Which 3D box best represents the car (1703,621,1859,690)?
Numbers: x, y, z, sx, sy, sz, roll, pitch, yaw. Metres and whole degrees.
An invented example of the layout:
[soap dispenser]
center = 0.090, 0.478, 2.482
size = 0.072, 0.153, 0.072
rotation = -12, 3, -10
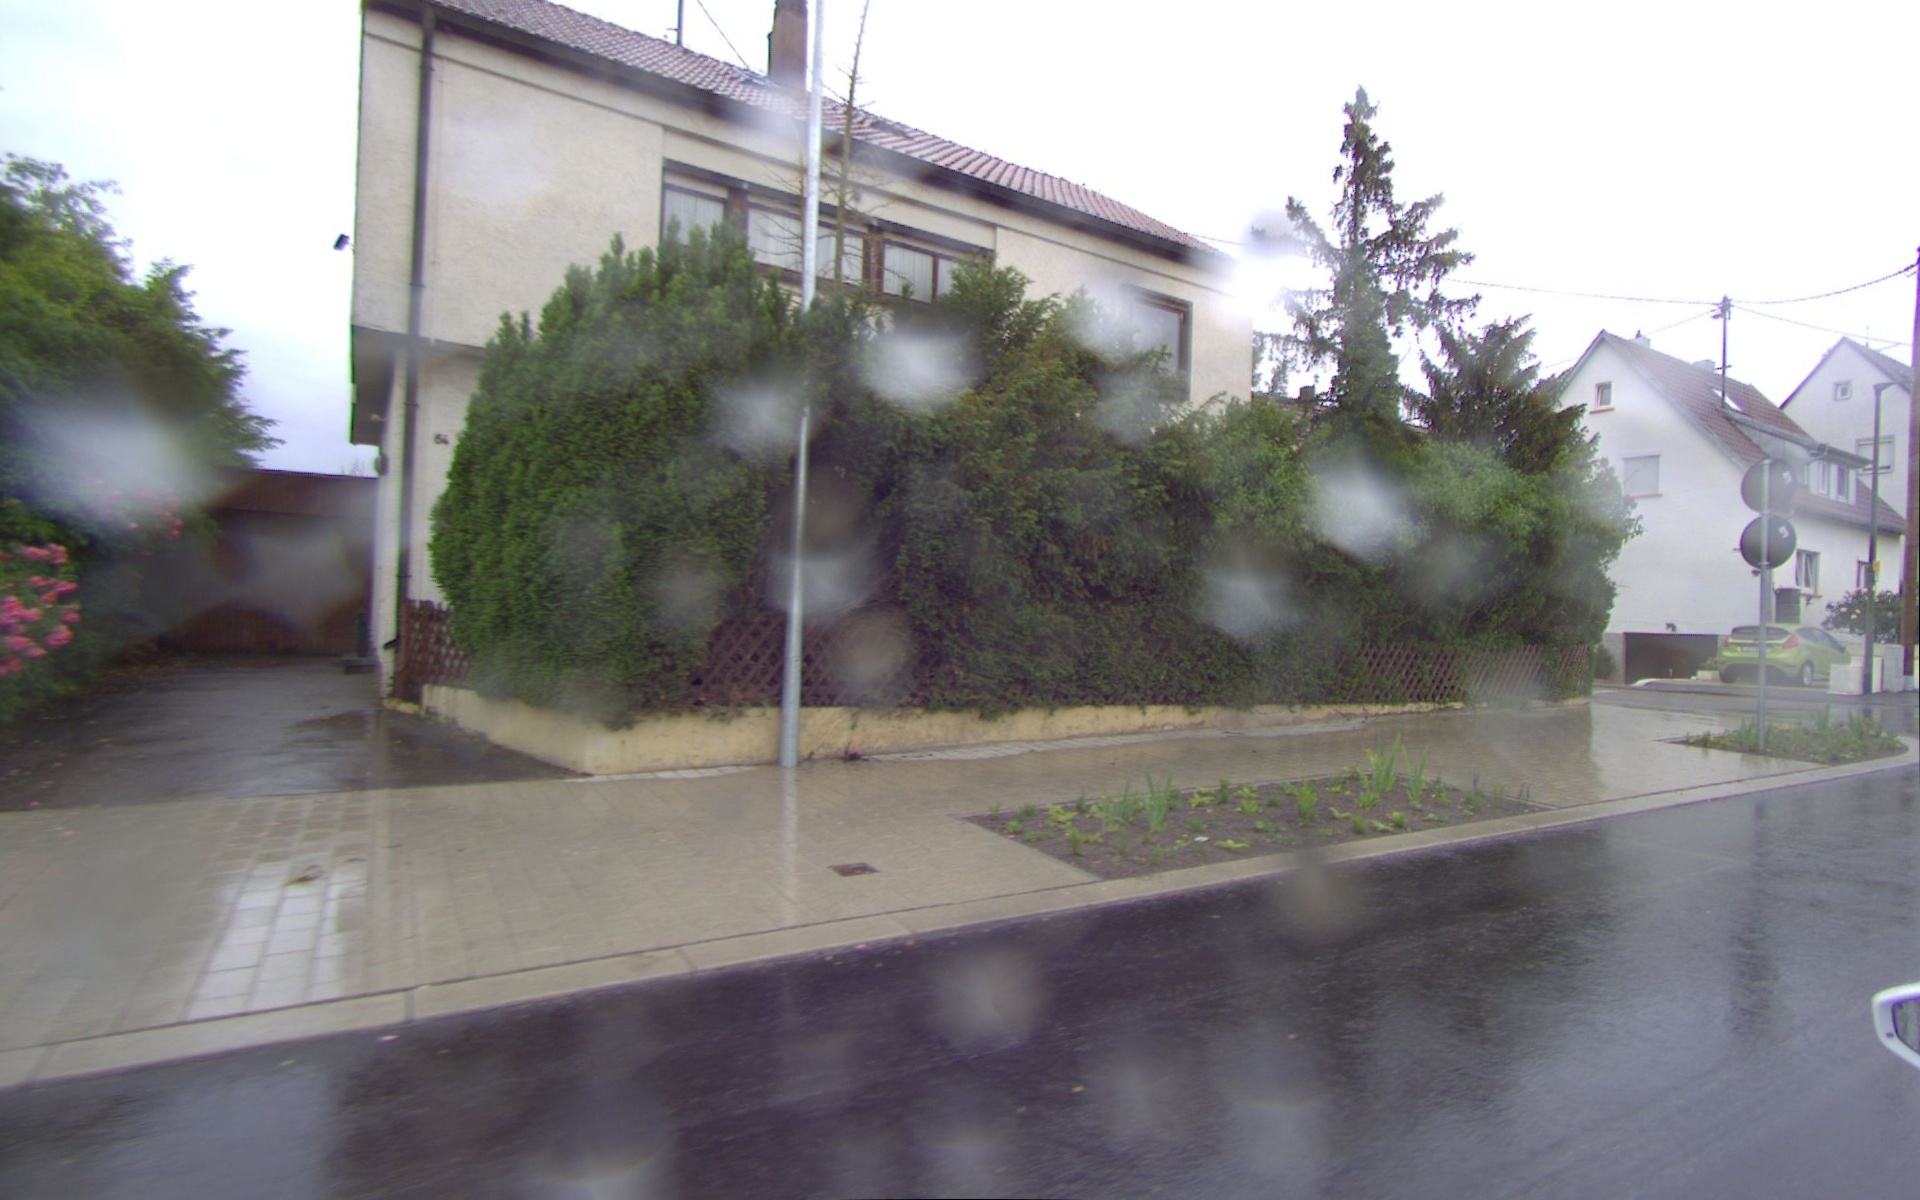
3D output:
[car]
center = 19.727, 1.342, 24.118
size = 3.416, 1.486, 1.771
rotation = 3, -1, -30
